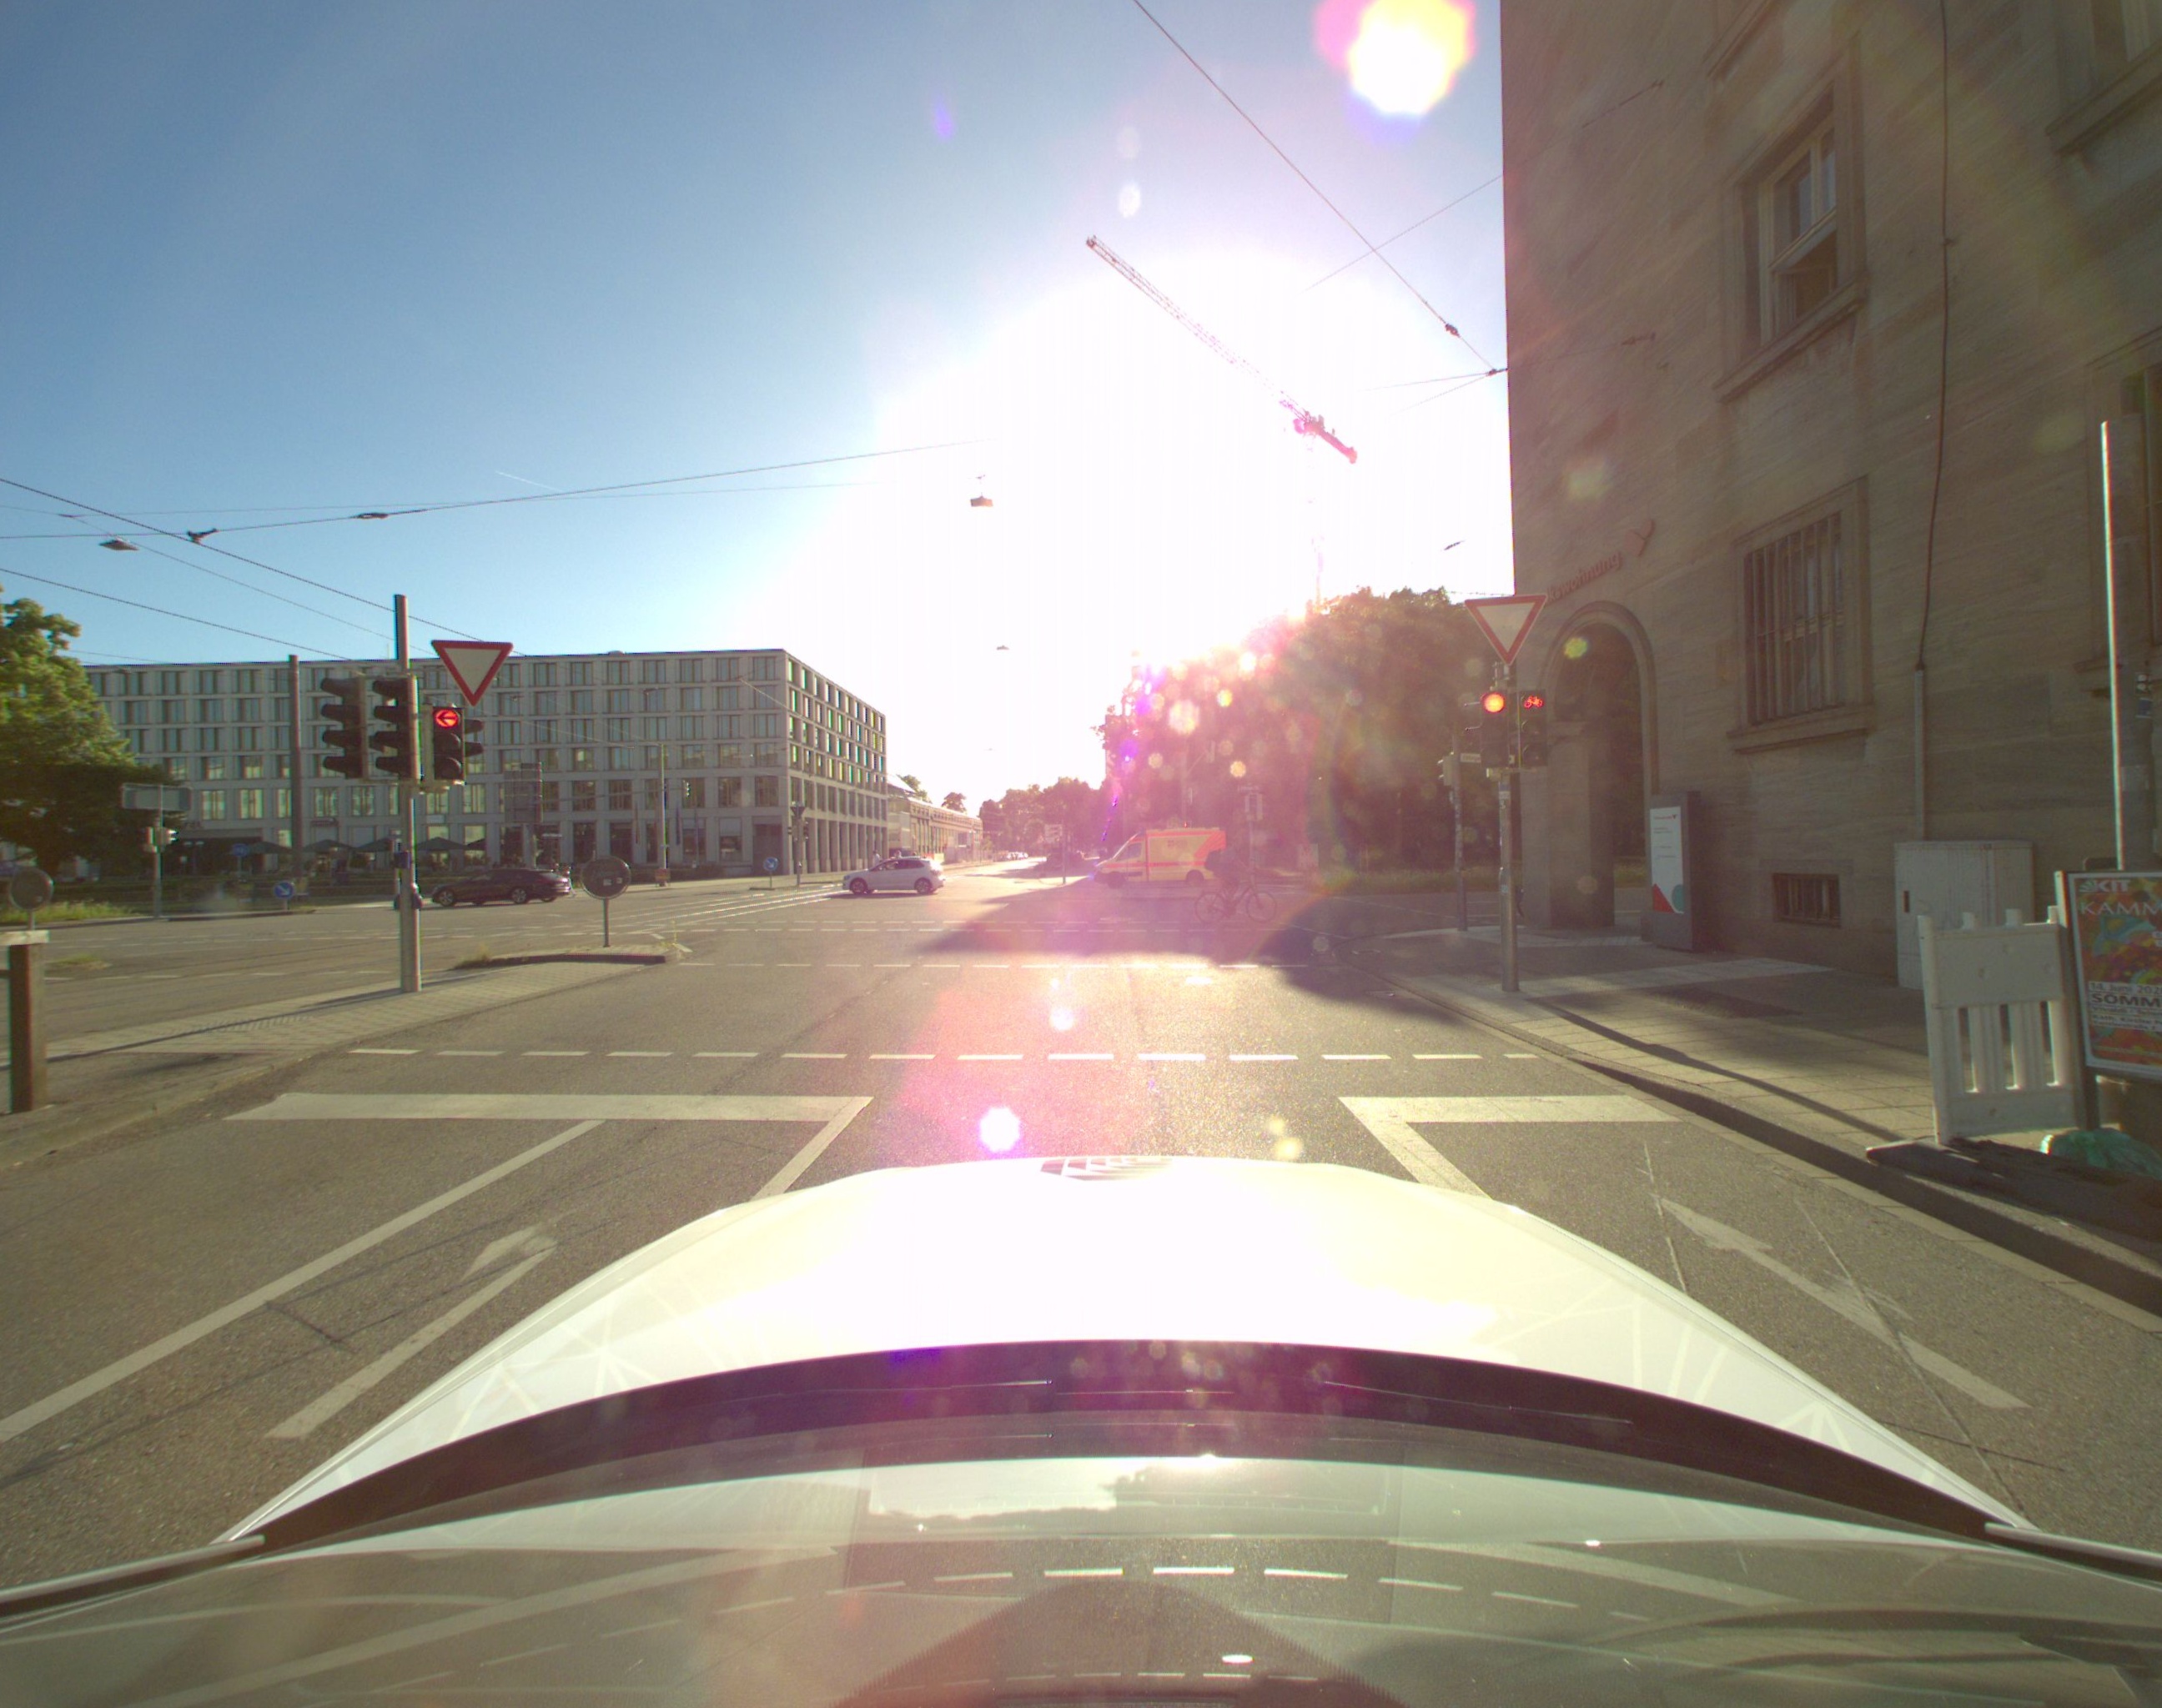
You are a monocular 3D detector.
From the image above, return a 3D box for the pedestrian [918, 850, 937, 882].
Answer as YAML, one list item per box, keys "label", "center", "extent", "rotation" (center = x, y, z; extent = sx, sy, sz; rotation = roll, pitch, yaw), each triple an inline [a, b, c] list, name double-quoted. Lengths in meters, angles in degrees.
- label: "pedestrian"
  center: [-8.606, 0.666, 45.767]
  extent: [0.865, 1.803, 0.533]
  rotation: [-2, 0, 7]

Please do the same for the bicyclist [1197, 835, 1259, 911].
- label: "bicyclist"
  center: [3.189, 0.392, 17.719]
  extent: [1.123, 1.594, 0.765]
  rotation: [-1, 1, -7]

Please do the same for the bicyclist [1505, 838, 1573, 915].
- label: "bicyclist"
  center: [9.436, 0.443, 16.804]
  extent: [0.997, 1.512, 0.768]
  rotation: [-2, 2, 5]

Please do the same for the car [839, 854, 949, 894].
- label: "car"
  center: [-7.487, 0.799, 32.848]
  extent: [4.030, 1.434, 1.631]
  rotation: [-2, -2, -1]

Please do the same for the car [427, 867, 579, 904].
- label: "car"
  center: [-23.479, 1.288, 33.223]
  extent: [4.721, 1.415, 1.999]
  rotation: [-1, -2, -1]

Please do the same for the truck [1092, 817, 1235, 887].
- label: "truck"
  center: [3.869, -0.073, 38.484]
  extent: [6.437, 3.016, 2.729]
  rotation: [-1, 0, 5]

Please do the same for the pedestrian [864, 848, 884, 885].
- label: "pedestrian"
  center: [-11.177, 0.668, 44.026]
  extent: [0.797, 1.918, 0.638]
  rotation: [-2, 0, 7]

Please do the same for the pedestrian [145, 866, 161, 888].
- label: "pedestrian"
  center: [-70.534, 1.730, 61.904]
  extent: [0.538, 1.669, 0.561]
  rotation: [0, -1, -2]

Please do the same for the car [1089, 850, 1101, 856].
- label: "car"
  center: [3.658, -0.195, 213.658]
  extent: [3.207, 1.588, 1.445]
  rotation: [0, -1, -3]

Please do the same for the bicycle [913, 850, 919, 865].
- label: "bicycle"
  center: [-26.627, 0.591, 131.124]
  extent: [0.569, 2.296, 1.422]
  rotation: [-2, 0, 0]

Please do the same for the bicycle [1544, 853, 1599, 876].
- label: "bicycle"
  center: [21.593, 0.470, 35.864]
  extent: [2.057, 0.933, 0.575]
  rotation: [-2, 0, 1]

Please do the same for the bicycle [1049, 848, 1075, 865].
- label: "bicycle"
  center: [-1.883, 0.250, 81.612]
  extent: [2.538, 1.743, 1.038]
  rotation: [0, -1, 1]

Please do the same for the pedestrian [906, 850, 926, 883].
- label: "pedestrian"
  center: [-9.084, 0.667, 44.906]
  extent: [0.865, 1.803, 0.665]
  rotation: [-2, 0, 7]

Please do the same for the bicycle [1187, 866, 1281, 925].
- label: "bicycle"
  center: [3.322, 0.887, 17.741]
  extent: [1.871, 1.158, 0.765]
  rotation: [-1, 1, -7]

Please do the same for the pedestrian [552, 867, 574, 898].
- label: "pedestrian"
  center: [-28.417, 1.555, 44.688]
  extent: [0.790, 1.644, 0.621]
  rotation: [-2, 0, -3]

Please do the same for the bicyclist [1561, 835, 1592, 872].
- label: "bicyclist"
  center: [21.821, -0.028, 35.875]
  extent: [0.971, 1.560, 0.575]
  rotation: [-2, 0, 1]

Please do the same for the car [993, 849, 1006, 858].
- label: "car"
  center: [-15.716, -0.040, 157.158]
  extent: [1.888, 1.607, 4.499]
  rotation: [-2, 0, 0]

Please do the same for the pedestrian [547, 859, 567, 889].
- label: "pedestrian"
  center: [-29.343, 1.126, 45.594]
  extent: [0.692, 1.644, 0.621]
  rotation: [-2, 0, -3]

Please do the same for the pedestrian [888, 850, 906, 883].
- label: "pedestrian"
  center: [-10.233, 0.690, 45.398]
  extent: [0.735, 1.803, 0.717]
  rotation: [-2, 0, 7]

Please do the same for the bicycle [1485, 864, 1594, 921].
- label: "bicycle"
  center: [9.440, 0.782, 16.814]
  extent: [1.804, 1.085, 0.768]
  rotation: [-2, 2, 5]

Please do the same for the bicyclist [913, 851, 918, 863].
- label: "bicyclist"
  center: [-26.630, 0.487, 131.033]
  extent: [0.569, 2.024, 0.762]
  rotation: [-2, 0, 0]

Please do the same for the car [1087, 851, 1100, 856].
- label: "car"
  center: [3.188, -0.096, 211.375]
  extent: [3.205, 1.263, 1.374]
  rotation: [0, -1, 2]
